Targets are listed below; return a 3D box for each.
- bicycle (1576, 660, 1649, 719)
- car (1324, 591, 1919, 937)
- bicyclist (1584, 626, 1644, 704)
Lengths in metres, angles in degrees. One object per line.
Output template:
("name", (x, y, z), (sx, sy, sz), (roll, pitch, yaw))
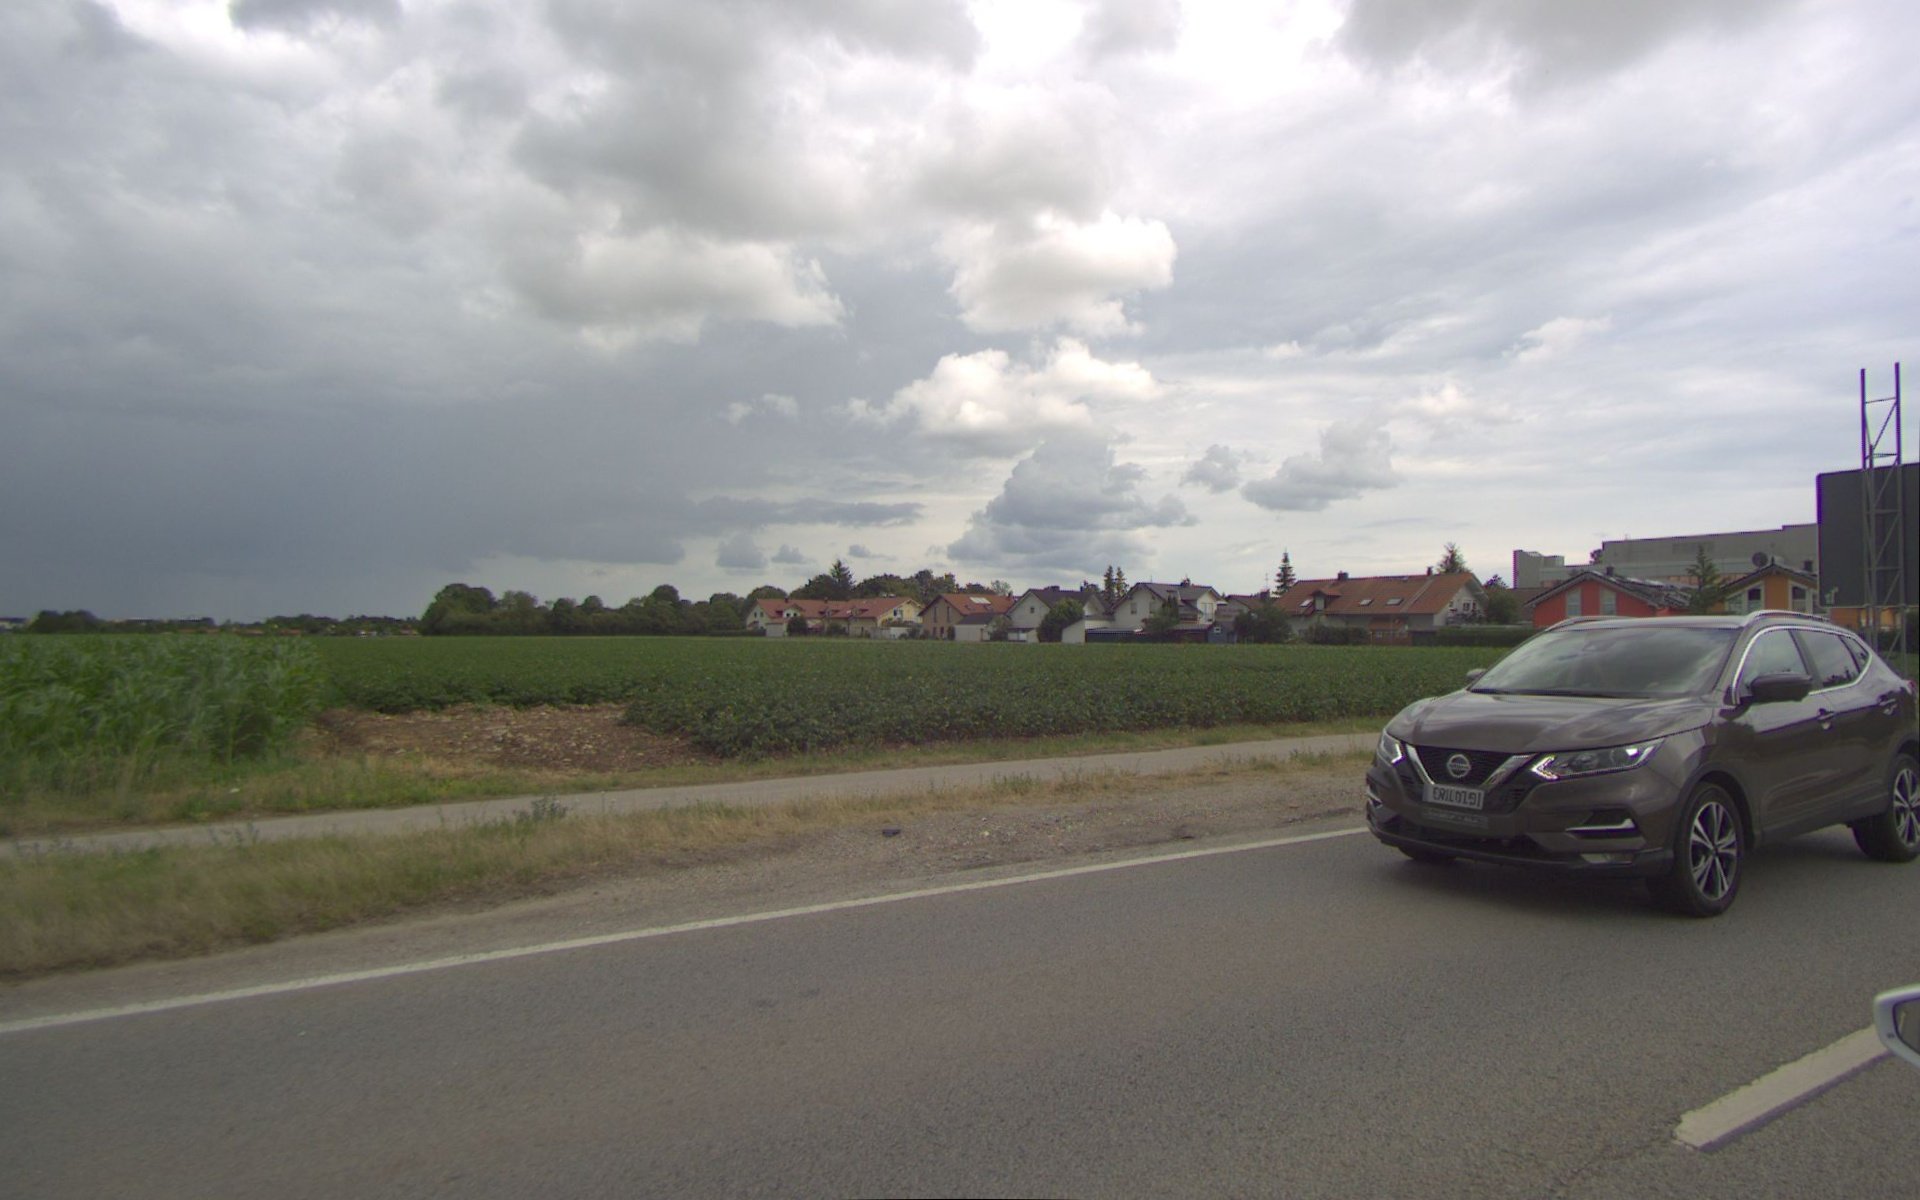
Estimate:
("bicycle", (13.756, 1.863, 21.168), (1.773, 1.171, 0.527), (1, -3, -31))
("car", (4.591, 0.839, 6.574), (4.452, 1.607, 1.721), (1, -3, -30))
("bicyclist", (13.819, 1.367, 21.224), (1.209, 1.605, 0.527), (1, -3, -31))
